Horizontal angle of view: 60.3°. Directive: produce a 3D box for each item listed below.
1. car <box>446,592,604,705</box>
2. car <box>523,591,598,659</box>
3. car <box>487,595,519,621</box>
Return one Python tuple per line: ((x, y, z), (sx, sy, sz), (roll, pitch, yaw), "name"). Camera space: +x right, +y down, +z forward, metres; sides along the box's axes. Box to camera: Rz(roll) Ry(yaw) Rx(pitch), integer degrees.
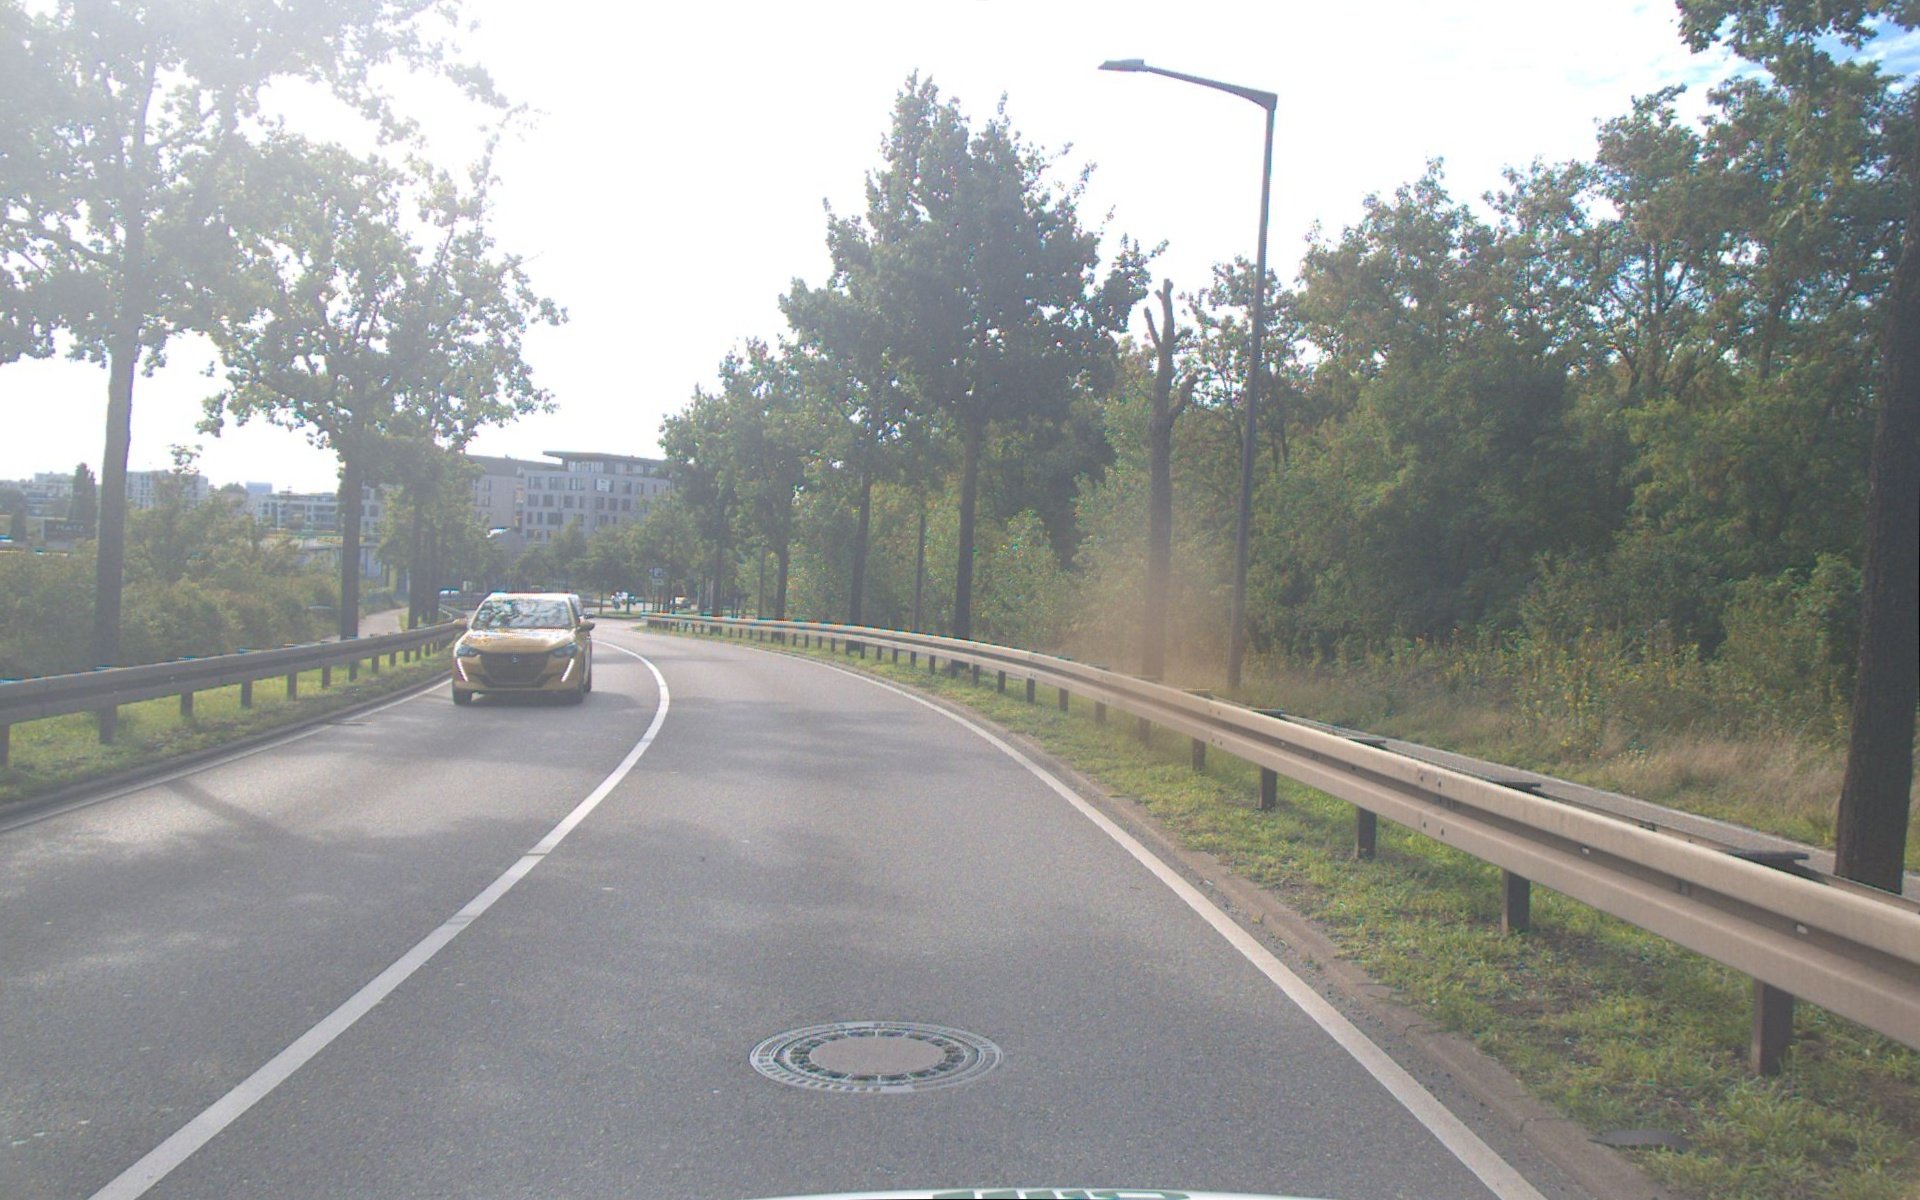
((-6.006, 0.619, 23.206), (1.766, 1.450, 3.864), (1, 0, -9), "car")
((-9.027, 0.542, 37.264), (1.541, 1.450, 3.576), (1, 0, -15), "car")
((-26.105, 0.450, 94.419), (1.543, 1.450, 3.571), (1, 0, -19), "car")
